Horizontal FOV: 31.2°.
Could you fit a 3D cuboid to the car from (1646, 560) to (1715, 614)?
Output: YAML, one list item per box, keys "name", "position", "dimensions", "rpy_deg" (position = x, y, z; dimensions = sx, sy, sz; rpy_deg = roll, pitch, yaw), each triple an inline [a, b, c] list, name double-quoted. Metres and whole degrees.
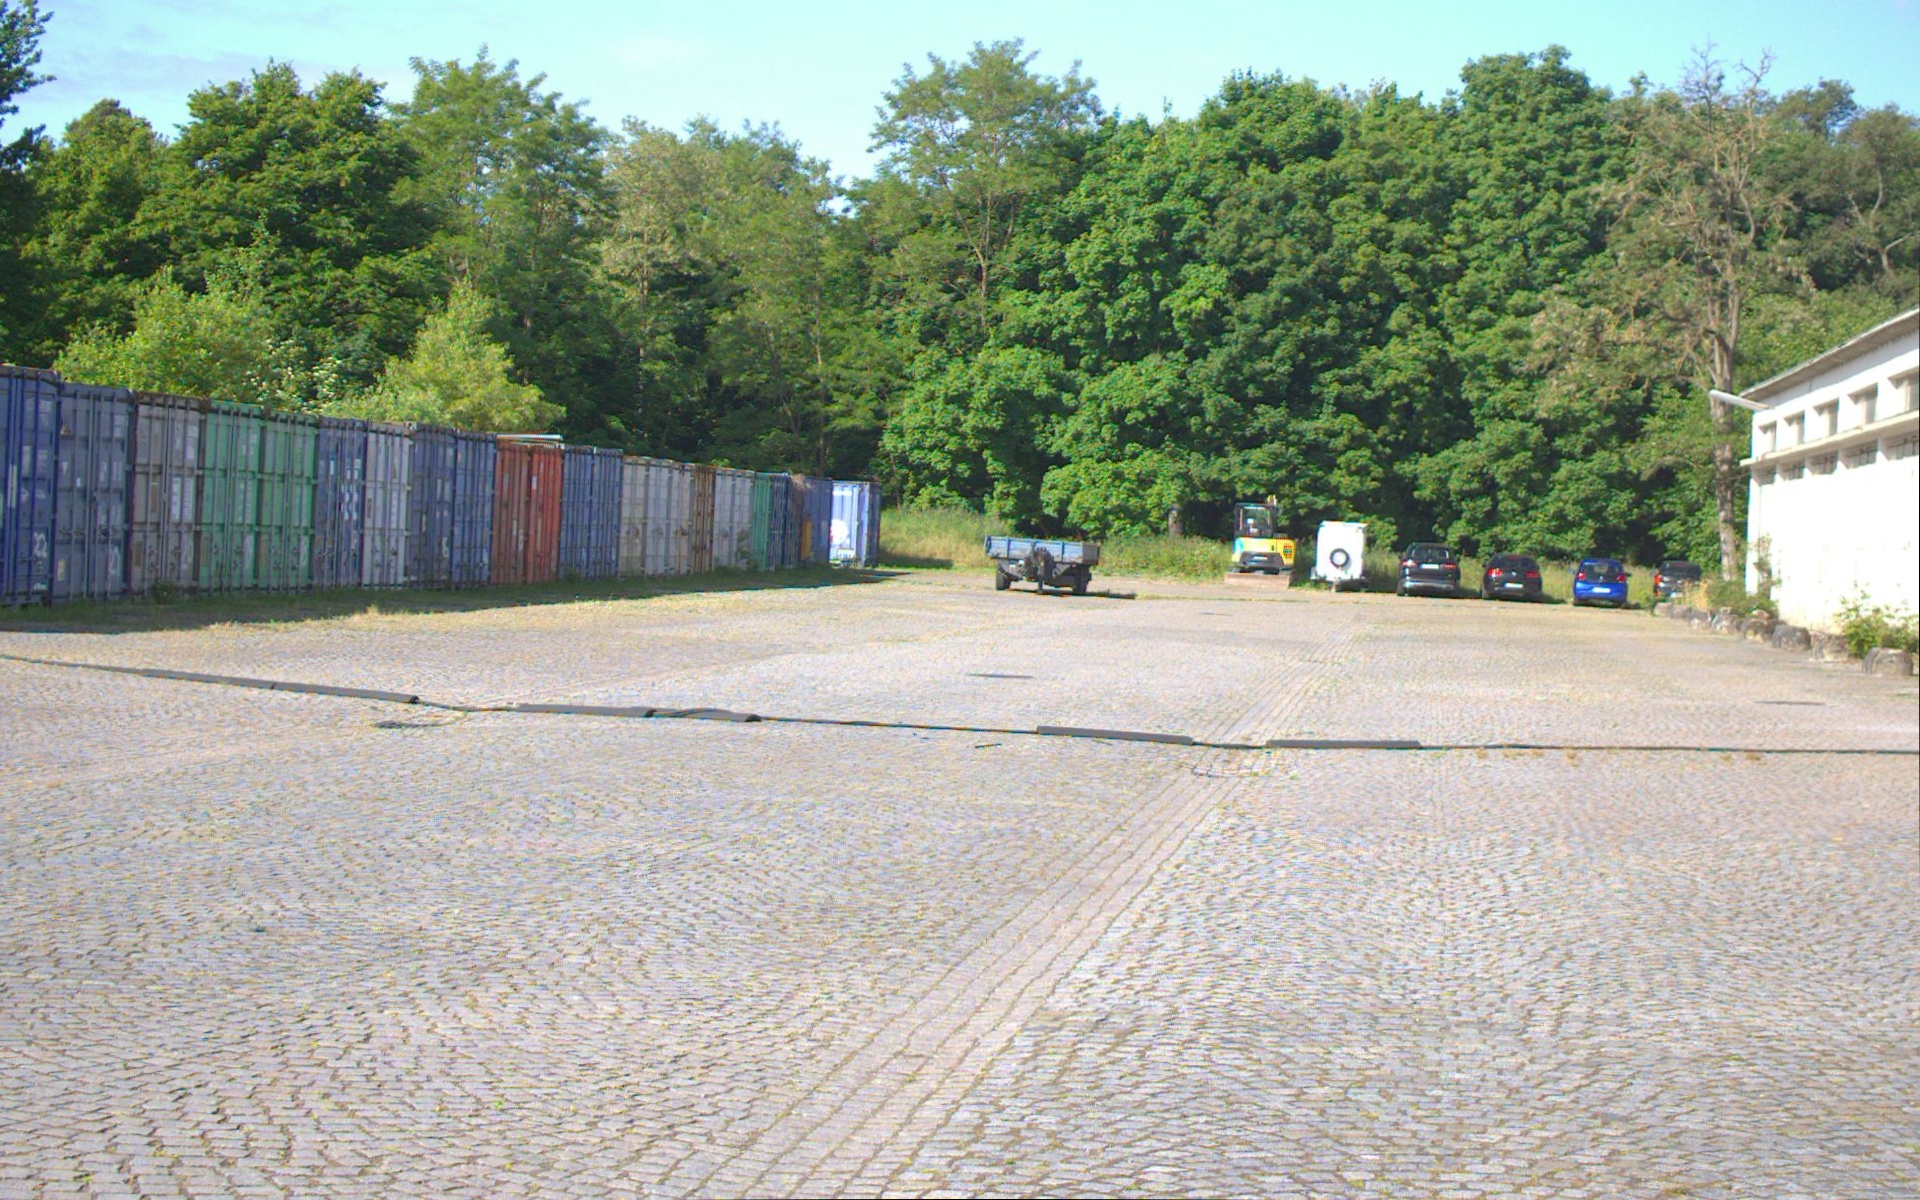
- name: "car"
  position: [22.067, -0.418, 105.213]
  dimensions: [1.745, 1.431, 4.180]
  rpy_deg: [5, 3, 14]

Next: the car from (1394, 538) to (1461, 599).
- name: "car"
  position: [14.222, -0.978, 104.589]
  dimensions: [1.864, 1.583, 4.295]
  rpy_deg: [5, 3, 7]

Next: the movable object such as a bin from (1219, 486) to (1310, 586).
- name: "movable object such as a bin"
  position: [9.627, -2.048, 108.230]
  dimensions: [2.307, 2.886, 5.749]
  rpy_deg: [5, 3, 8]

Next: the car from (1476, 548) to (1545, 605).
- name: "car"
  position: [16.728, -0.746, 104.607]
  dimensions: [1.864, 1.465, 4.295]
  rpy_deg: [5, 3, 7]

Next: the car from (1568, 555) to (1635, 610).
- name: "car"
  position: [19.455, -0.538, 104.160]
  dimensions: [1.745, 1.431, 4.181]
  rpy_deg: [5, 3, 13]

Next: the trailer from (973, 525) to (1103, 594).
- name: "trailer"
  position: [2.055, -1.066, 88.432]
  dimensions: [2.706, 1.460, 6.246]
  rpy_deg: [4, 2, 6]

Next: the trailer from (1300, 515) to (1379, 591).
- name: "trailer"
  position: [11.880, -1.508, 107.317]
  dimensions: [2.194, 2.087, 5.750]
  rpy_deg: [5, 3, 7]
